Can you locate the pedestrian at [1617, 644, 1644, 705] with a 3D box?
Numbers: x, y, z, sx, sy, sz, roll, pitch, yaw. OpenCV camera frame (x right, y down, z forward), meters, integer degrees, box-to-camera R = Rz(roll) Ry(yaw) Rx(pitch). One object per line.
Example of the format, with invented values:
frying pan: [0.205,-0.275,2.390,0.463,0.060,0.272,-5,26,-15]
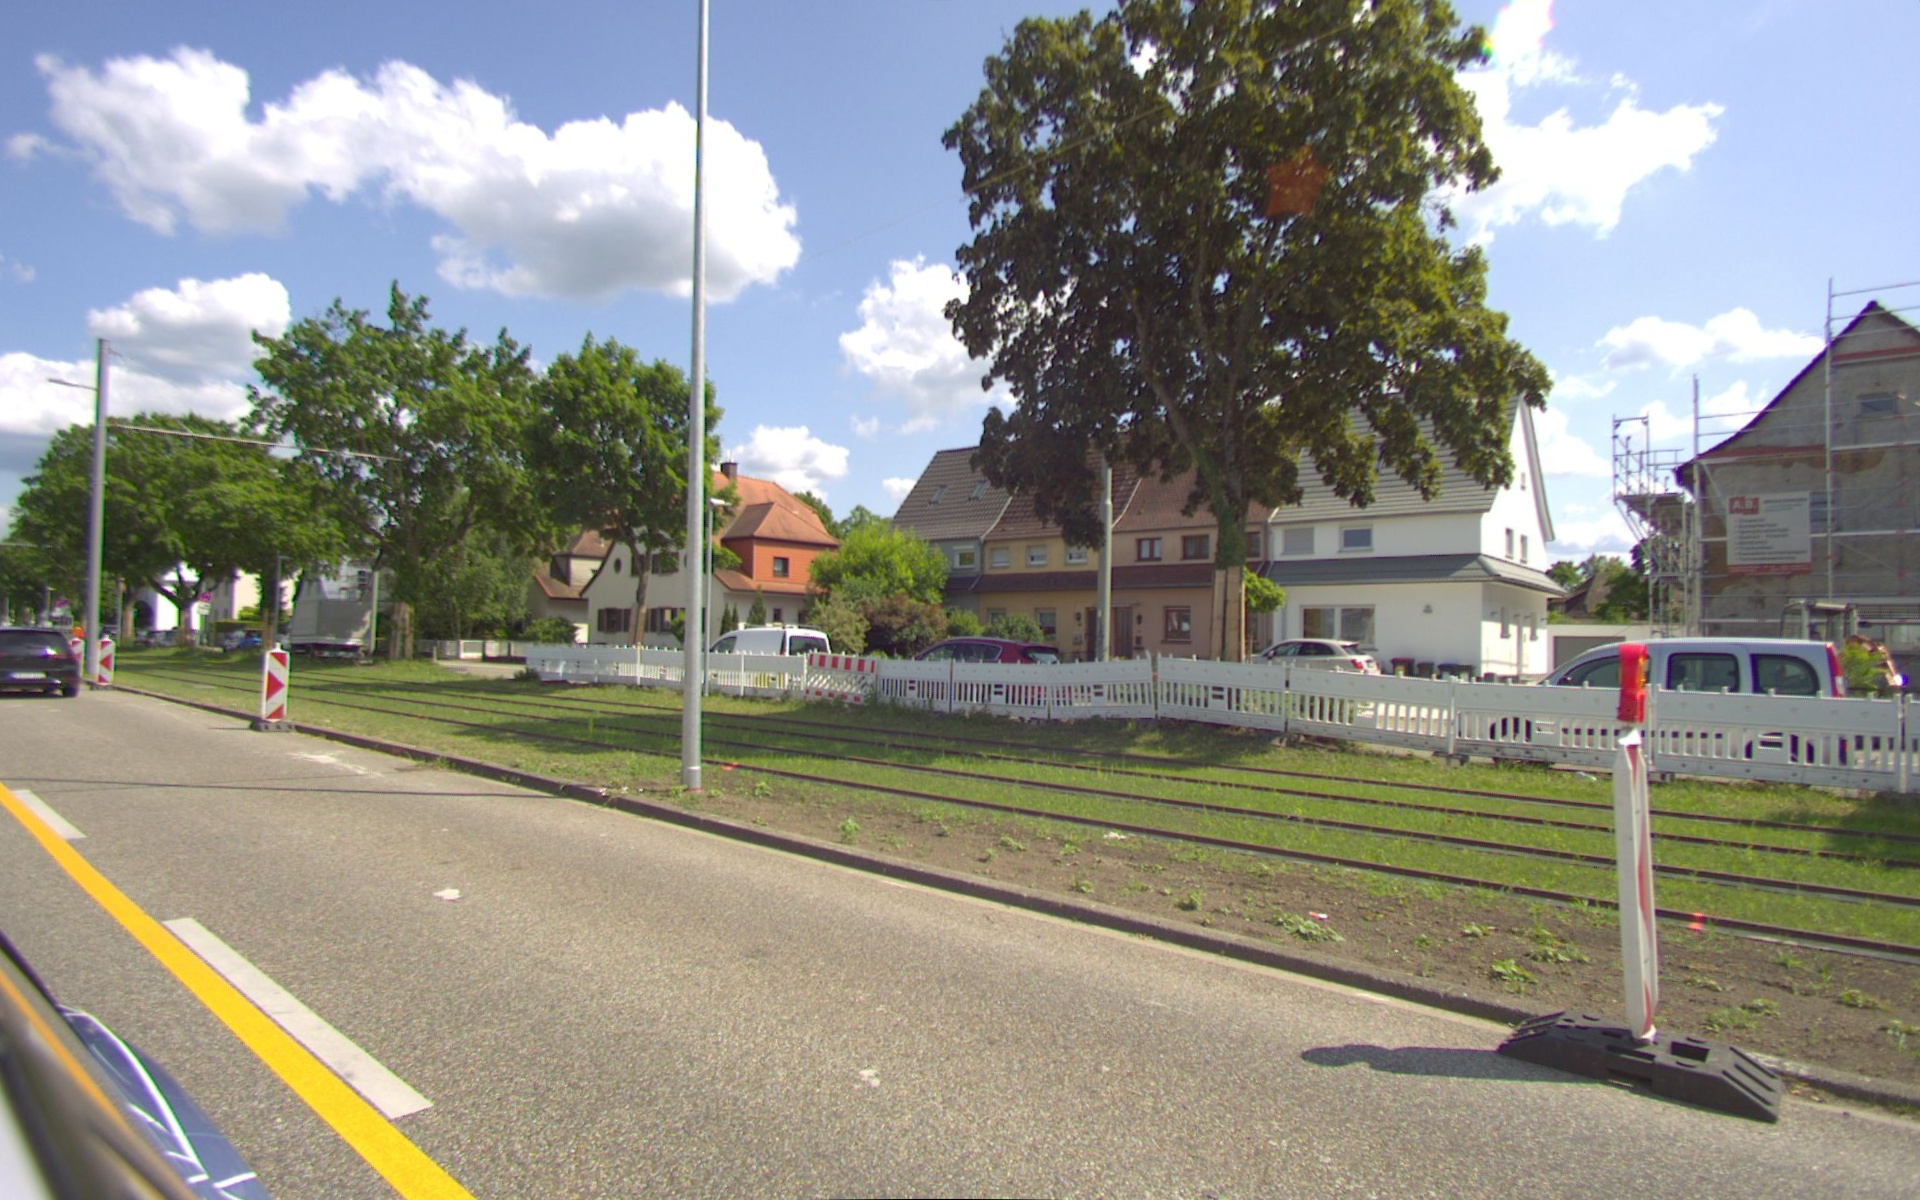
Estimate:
pedestrian: [15.652,1.735,23.625,0.471,1.387,0.418,-1,-1,41]

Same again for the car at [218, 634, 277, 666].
car: [-37.432,2.575,53.113,3.929,1.524,1.651,-1,-1,41]

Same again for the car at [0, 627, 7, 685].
car: [-30.161,1.592,30.334,4.460,1.679,1.805,-1,-4,41]

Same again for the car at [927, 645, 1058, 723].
car: [0.604,1.584,19.585,1.060,1.358,2.450,5,-4,-45]

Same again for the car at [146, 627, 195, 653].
car: [-50.733,2.531,65.005,4.522,1.524,1.685,-1,-1,41]

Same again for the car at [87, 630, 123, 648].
car: [-67.047,3.030,79.336,3.998,1.311,1.615,-1,-1,42]

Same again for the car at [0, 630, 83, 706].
car: [-19.639,1.356,20.905,3.857,1.423,1.675,-1,-5,41]

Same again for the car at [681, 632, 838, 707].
car: [-4.967,1.664,24.795,3.999,1.638,1.635,-1,-4,41]

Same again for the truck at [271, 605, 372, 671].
truck: [-29.342,1.689,46.426,5.949,2.826,2.340,-1,-1,42]

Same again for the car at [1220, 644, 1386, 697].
car: [9.500,1.925,28.210,4.119,1.285,1.517,-1,-4,41]

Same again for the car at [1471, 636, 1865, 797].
car: [8.786,1.344,12.786,3.897,1.664,1.605,-1,-4,41]

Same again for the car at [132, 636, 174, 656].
car: [-55.140,3.104,69.120,3.785,1.251,1.603,-1,-1,42]
